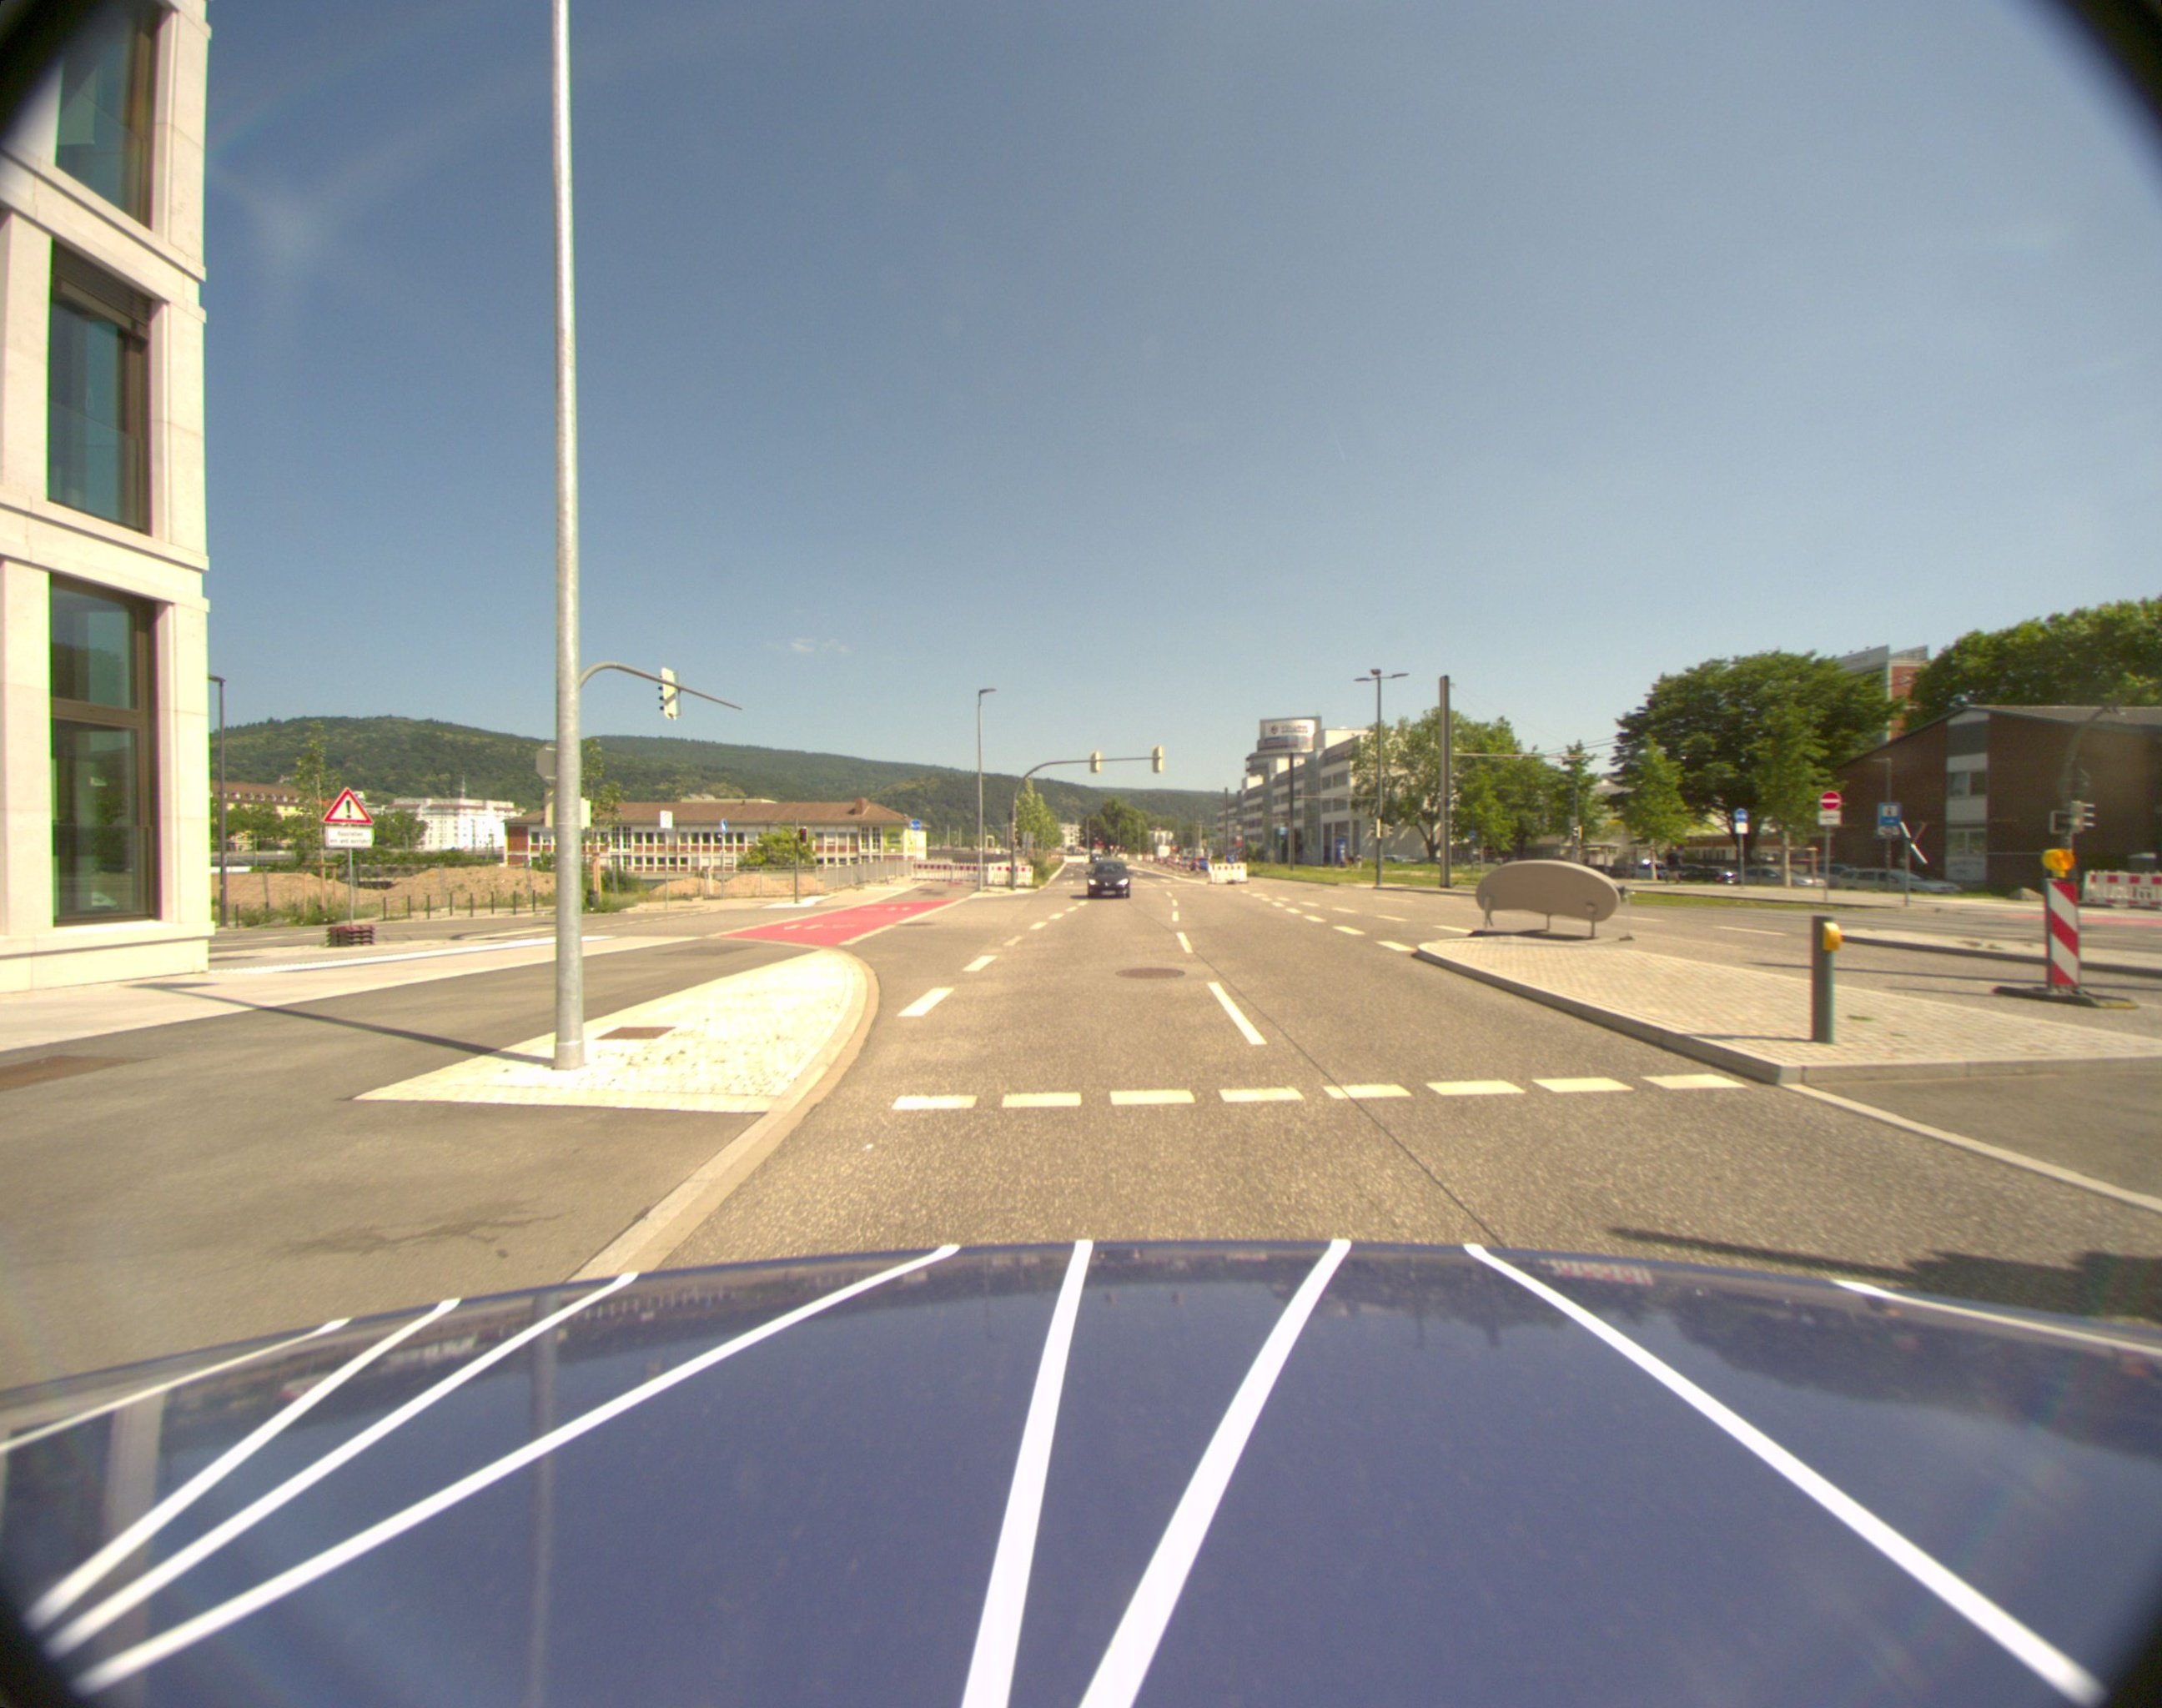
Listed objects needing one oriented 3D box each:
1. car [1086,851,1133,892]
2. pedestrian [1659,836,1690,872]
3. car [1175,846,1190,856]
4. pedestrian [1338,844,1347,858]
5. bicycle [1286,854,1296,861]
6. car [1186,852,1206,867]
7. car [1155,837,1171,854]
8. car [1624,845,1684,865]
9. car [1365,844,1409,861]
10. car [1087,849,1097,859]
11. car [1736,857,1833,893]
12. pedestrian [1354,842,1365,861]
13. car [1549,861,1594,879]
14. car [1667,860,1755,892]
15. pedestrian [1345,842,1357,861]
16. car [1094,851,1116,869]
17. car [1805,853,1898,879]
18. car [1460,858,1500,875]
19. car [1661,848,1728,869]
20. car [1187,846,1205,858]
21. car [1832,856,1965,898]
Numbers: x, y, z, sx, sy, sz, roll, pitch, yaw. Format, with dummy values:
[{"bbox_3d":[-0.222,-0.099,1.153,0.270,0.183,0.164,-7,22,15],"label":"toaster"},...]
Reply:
[{"bbox_3d":[1.051,0.649,29.709,1.618,1.433,3.705,0,1,-1],"label":"car"},{"bbox_3d":[30.574,-0.001,39.159,0.813,1.836,1.107,0,1,6],"label":"pedestrian"},{"bbox_3d":[15.128,-0.453,113.368,1.677,1.435,4.469,2,1,3],"label":"car"},{"bbox_3d":[30.153,-0.353,87.551,0.816,1.567,0.827,-1,1,5],"label":"pedestrian"},{"bbox_3d":[38.737,0.611,140.016,1.650,1.182,0.438,-2,1,6],"label":"bicycle"},{"bbox_3d":[11.562,0.580,76.644,1.632,1.419,4.291,-2,0,4],"label":"car"},{"bbox_3d":[14.167,-1.434,131.395,2.082,2.724,5.986,2,1,1],"label":"car"},{"bbox_3d":[44.871,0.087,59.588,1.542,1.449,4.267,-1,0,0],"label":"car"},{"bbox_3d":[38.921,-0.212,96.717,5.063,2.167,2.117,0,1,27],"label":"car"},{"bbox_3d":[1.804,-0.042,124.642,1.618,1.433,3.767,-2,1,1],"label":"car"},{"bbox_3d":[38.554,1.118,41.764,1.702,1.751,3.939,-1,1,1],"label":"car"},{"bbox_3d":[30.112,-0.238,82.103,0.841,2.002,0.983,-1,1,3],"label":"pedestrian"},{"bbox_3d":[47.127,1.502,73.080,1.773,1.581,3.636,-2,0,-5],"label":"car"},{"bbox_3d":[38.687,1.311,46.830,1.702,1.751,4.529,-1,1,0],"label":"car"},{"bbox_3d":[29.172,-0.309,82.174,0.985,2.002,0.910,-1,1,3],"label":"pedestrian"},{"bbox_3d":[1.913,0.445,61.392,1.618,1.433,3.767,0,0,-1],"label":"car"},{"bbox_3d":[44.374,0.659,43.874,1.542,1.449,3.787,-1,0,0],"label":"car"},{"bbox_3d":[39.732,1.205,75.733,1.773,1.581,3.636,-2,0,-5],"label":"car"},{"bbox_3d":[43.840,0.295,54.390,1.543,1.449,3.785,0,1,-4],"label":"car"},{"bbox_3d":[13.800,-0.243,91.504,1.584,1.408,4.296,1,1,1],"label":"car"},{"bbox_3d":[38.620,1.019,36.077,1.702,1.751,4.300,-1,1,0],"label":"car"}]
